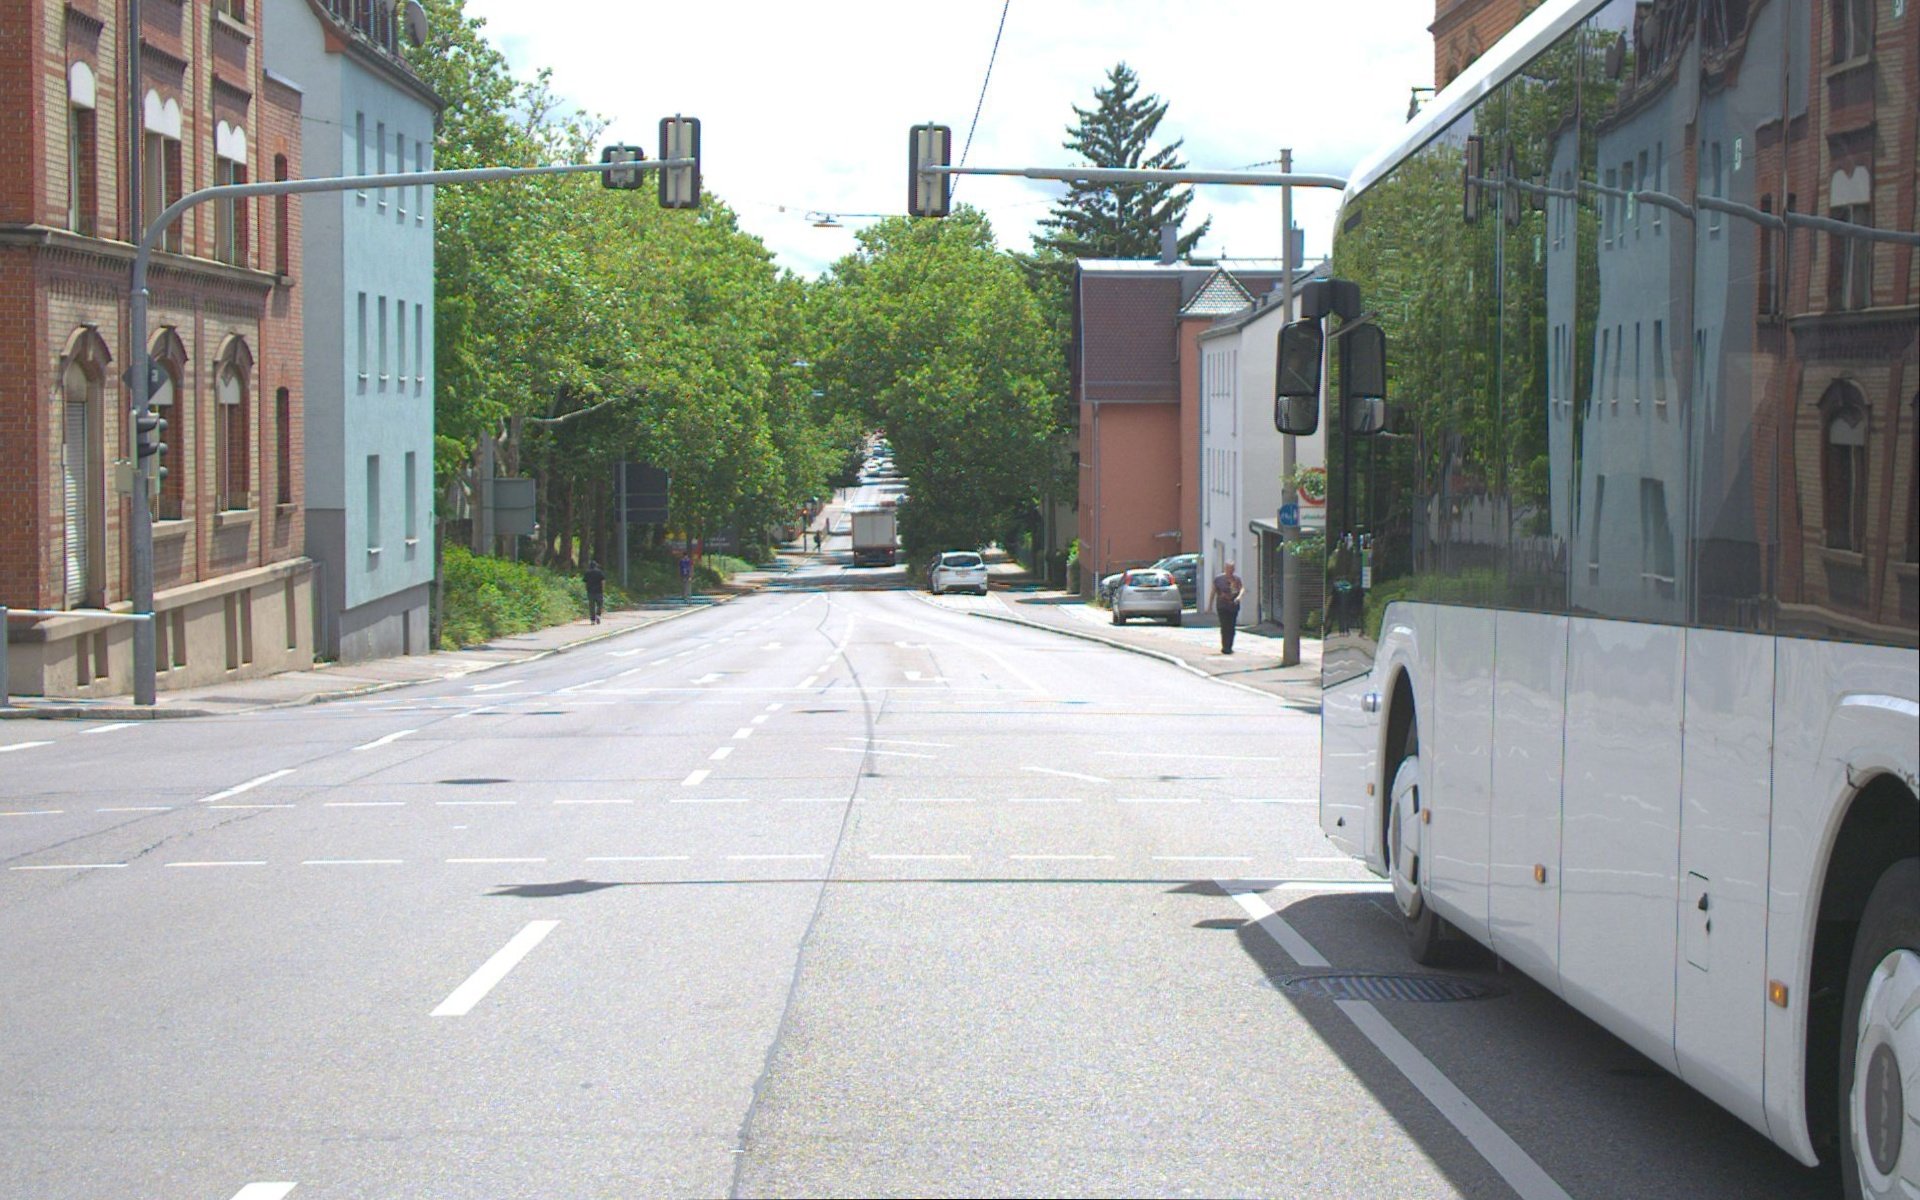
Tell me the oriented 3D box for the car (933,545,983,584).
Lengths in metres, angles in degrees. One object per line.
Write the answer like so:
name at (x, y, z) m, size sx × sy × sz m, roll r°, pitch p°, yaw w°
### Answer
car at (-0.089, -1.330, 129.451) m, size 1.794 × 1.405 × 4.000 m, roll 1°, pitch 1°, yaw -1°

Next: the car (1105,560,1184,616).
car at (4.976, -0.348, 93.068) m, size 1.794 × 1.405 × 4.001 m, roll -1°, pitch 1°, yaw -2°

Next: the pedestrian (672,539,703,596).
pedestrian at (-9.698, -1.146, 122.247) m, size 0.995 × 2.007 × 1.189 m, roll -1°, pitch 1°, yaw -1°

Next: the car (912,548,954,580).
car at (-1.199, -1.616, 153.929) m, size 1.794 × 1.405 × 4.419 m, roll 1°, pitch 1°, yaw 0°

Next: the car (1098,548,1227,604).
car at (6.651, -0.801, 113.167) m, size 3.986 × 1.751 × 2.000 m, roll -1°, pitch 1°, yaw -5°

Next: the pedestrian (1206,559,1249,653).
pedestrian at (5.035, 0.115, 64.685) m, size 0.738 × 1.744 × 0.619 m, roll -1°, pitch 1°, yaw -1°

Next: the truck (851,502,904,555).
truck at (-4.961, -4.292, 205.491) m, size 2.926 × 3.070 × 7.886 m, roll -1°, pitch 1°, yaw -3°

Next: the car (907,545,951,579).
car at (-1.297, -1.610, 145.822) m, size 1.794 × 1.405 × 4.419 m, roll 1°, pitch 1°, yaw 0°

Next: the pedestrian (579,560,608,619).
pedestrian at (-9.753, -0.281, 91.544) m, size 0.729 × 1.560 × 0.561 m, roll 0°, pitch 1°, yaw -1°

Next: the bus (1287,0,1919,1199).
bus at (2.868, -0.224, 9.206) m, size 2.672 × 3.145 × 12.462 m, roll 0°, pitch 1°, yaw 0°
